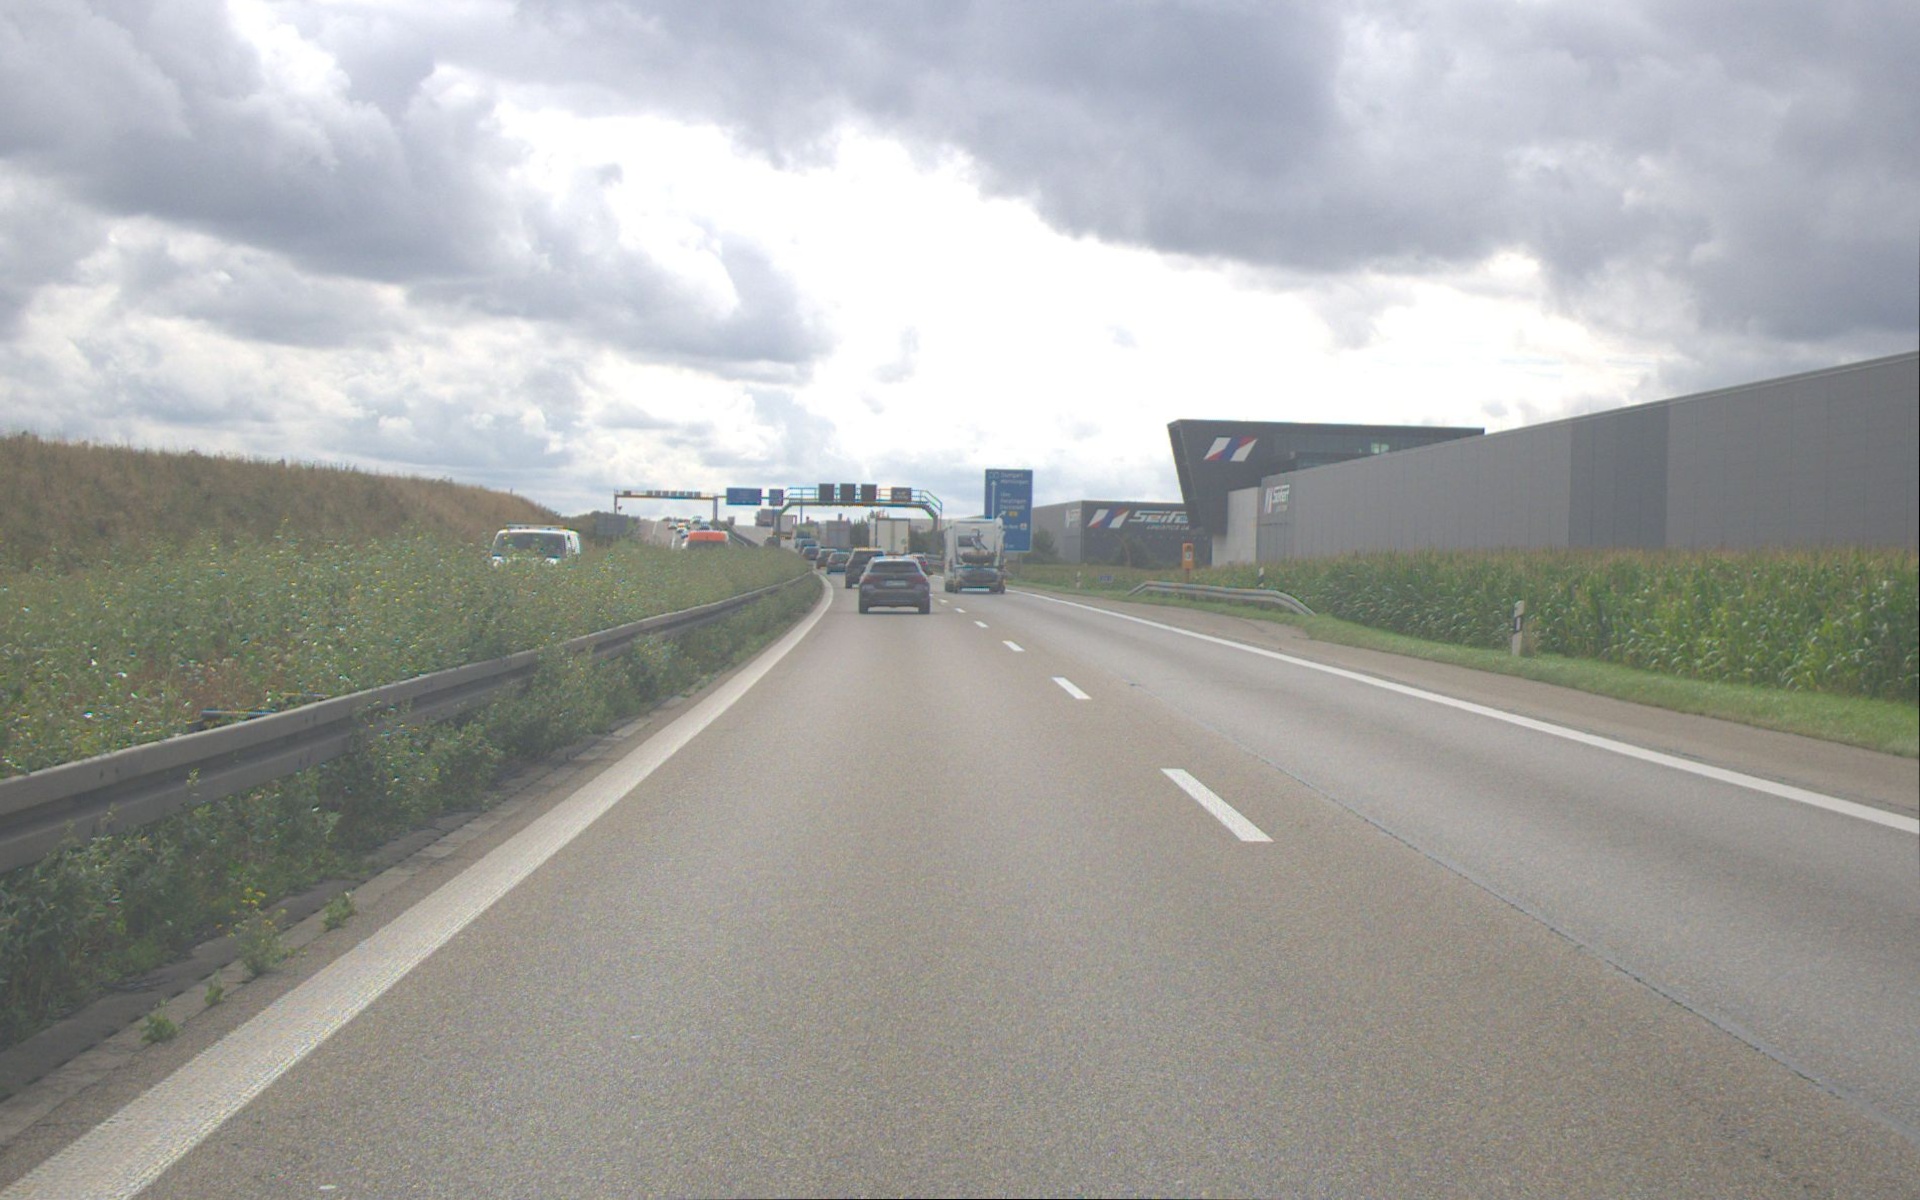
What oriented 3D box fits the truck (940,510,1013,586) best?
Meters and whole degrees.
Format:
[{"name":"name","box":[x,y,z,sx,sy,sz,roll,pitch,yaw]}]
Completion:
[{"name":"truck","box":[0.625,-2.095,138.514,2.481,2.940,5.816,1,1,-4]}]

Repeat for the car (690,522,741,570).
[{"name":"car","box":[-11.908,-2.618,167.673,2.124,2.259,5.453,1,1,-1]}]

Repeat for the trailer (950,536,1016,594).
[{"name":"trailer","box":[0.848,-1.347,131.663,2.338,2.129,4.000,1,1,-2]}]

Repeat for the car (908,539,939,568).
[{"name":"car","box":[-2.259,-2.885,212.226,1.801,1.679,4.001,0,2,-2]}]

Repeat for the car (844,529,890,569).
[{"name":"car","box":[-4.050,-2.209,149.948,1.945,1.679,4.000,1,1,-2]}]

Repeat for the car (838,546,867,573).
[{"name":"car","box":[-7.315,-2.752,233.374,1.943,1.769,3.696,1,1,-2]}]

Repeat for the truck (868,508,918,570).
[{"name":"truck","box":[-5.085,-4.609,260.605,3.339,4.518,8.018,1,0,-4]}]

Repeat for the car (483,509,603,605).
[{"name":"car","box":[-9.145,-0.945,75.834,1.993,2.007,5.532,1,1,-1]}]

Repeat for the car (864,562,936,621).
[{"name":"car","box":[-1.553,-0.230,87.654,1.746,1.448,4.000,1,1,-2]}]
